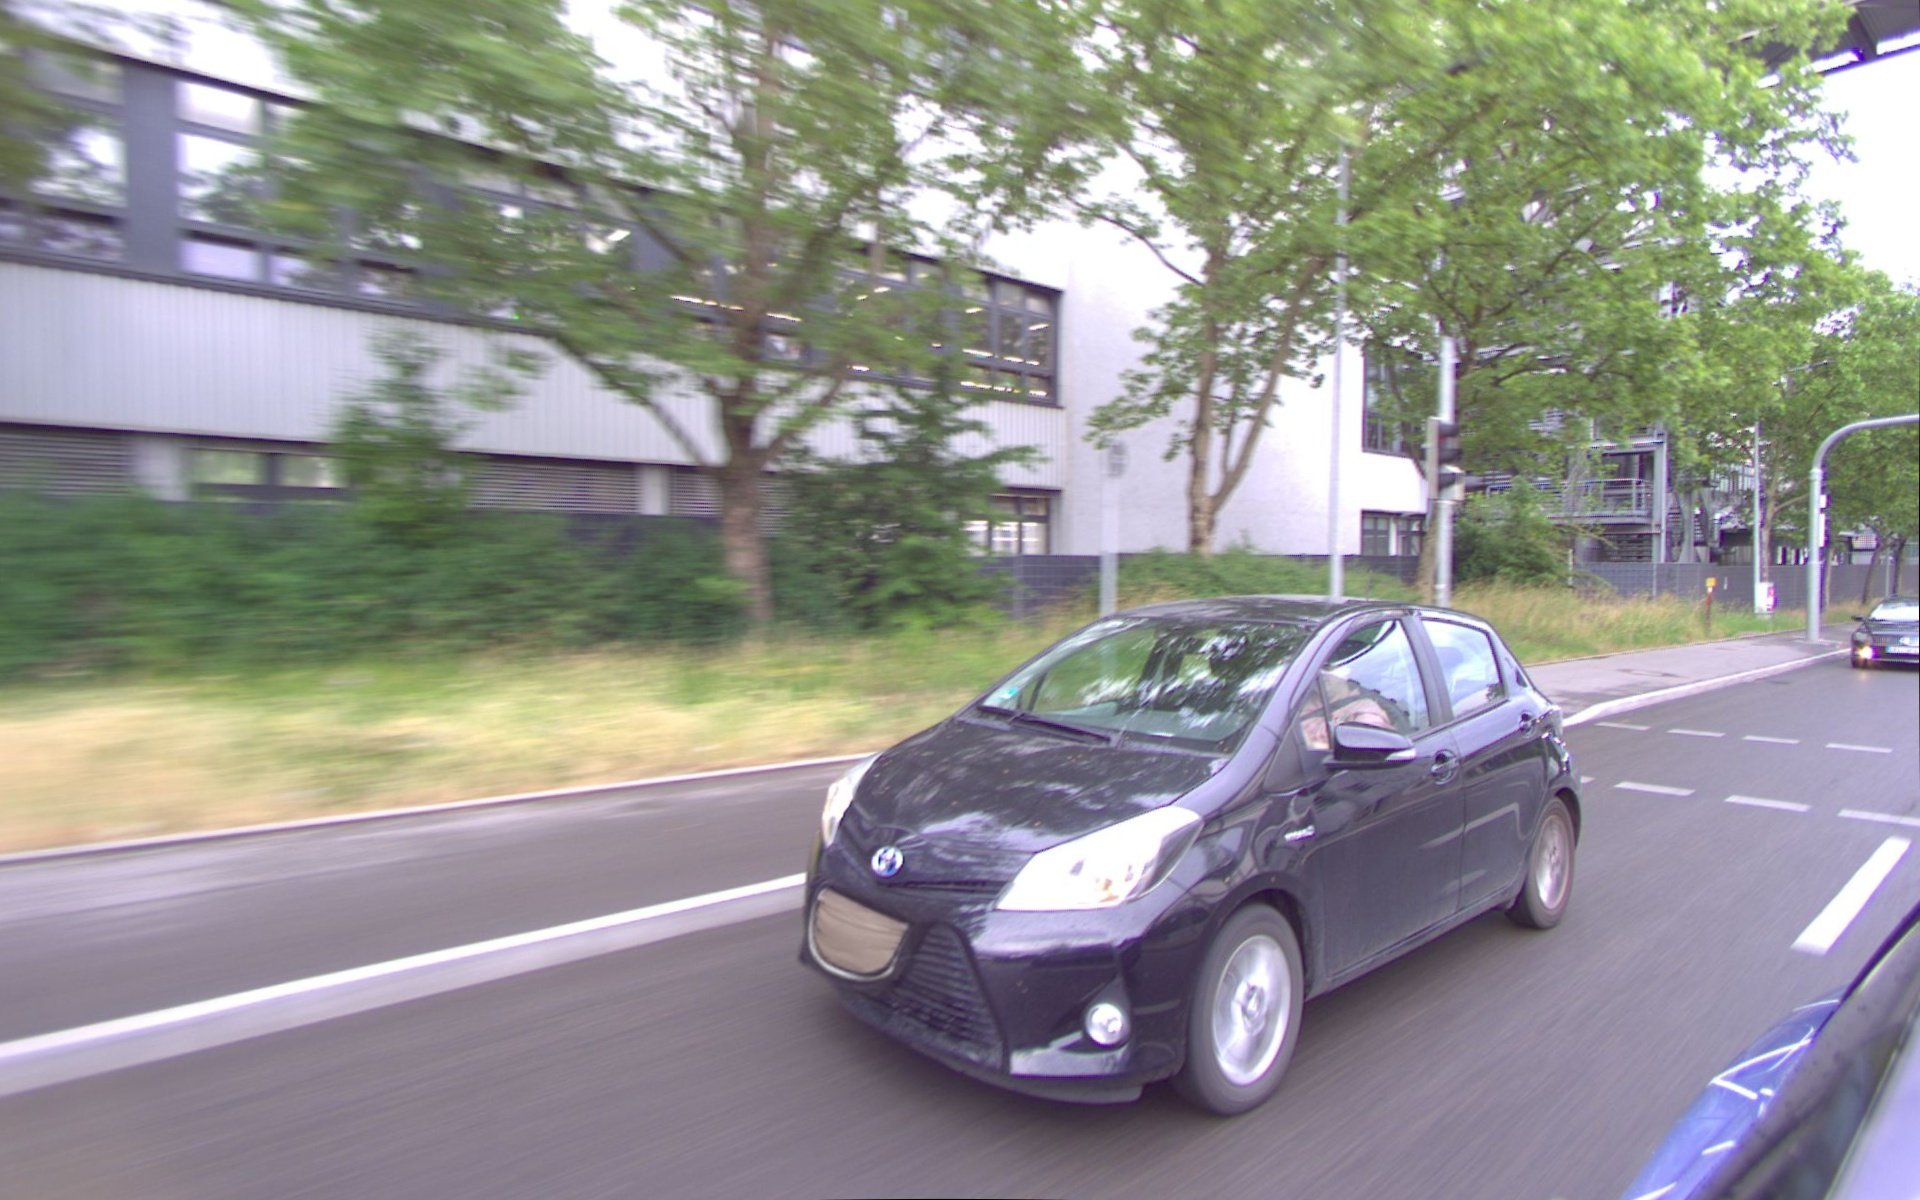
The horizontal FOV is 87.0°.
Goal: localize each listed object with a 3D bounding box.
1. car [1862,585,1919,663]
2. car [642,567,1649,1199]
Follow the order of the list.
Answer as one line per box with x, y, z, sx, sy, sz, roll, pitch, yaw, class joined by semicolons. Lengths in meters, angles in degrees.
20.016;0.447;20.743;4.439;1.448;1.748;-1;2;-41;car
1.199;0.625;4.281;4.560;1.488;1.748;-1;2;-41;car
